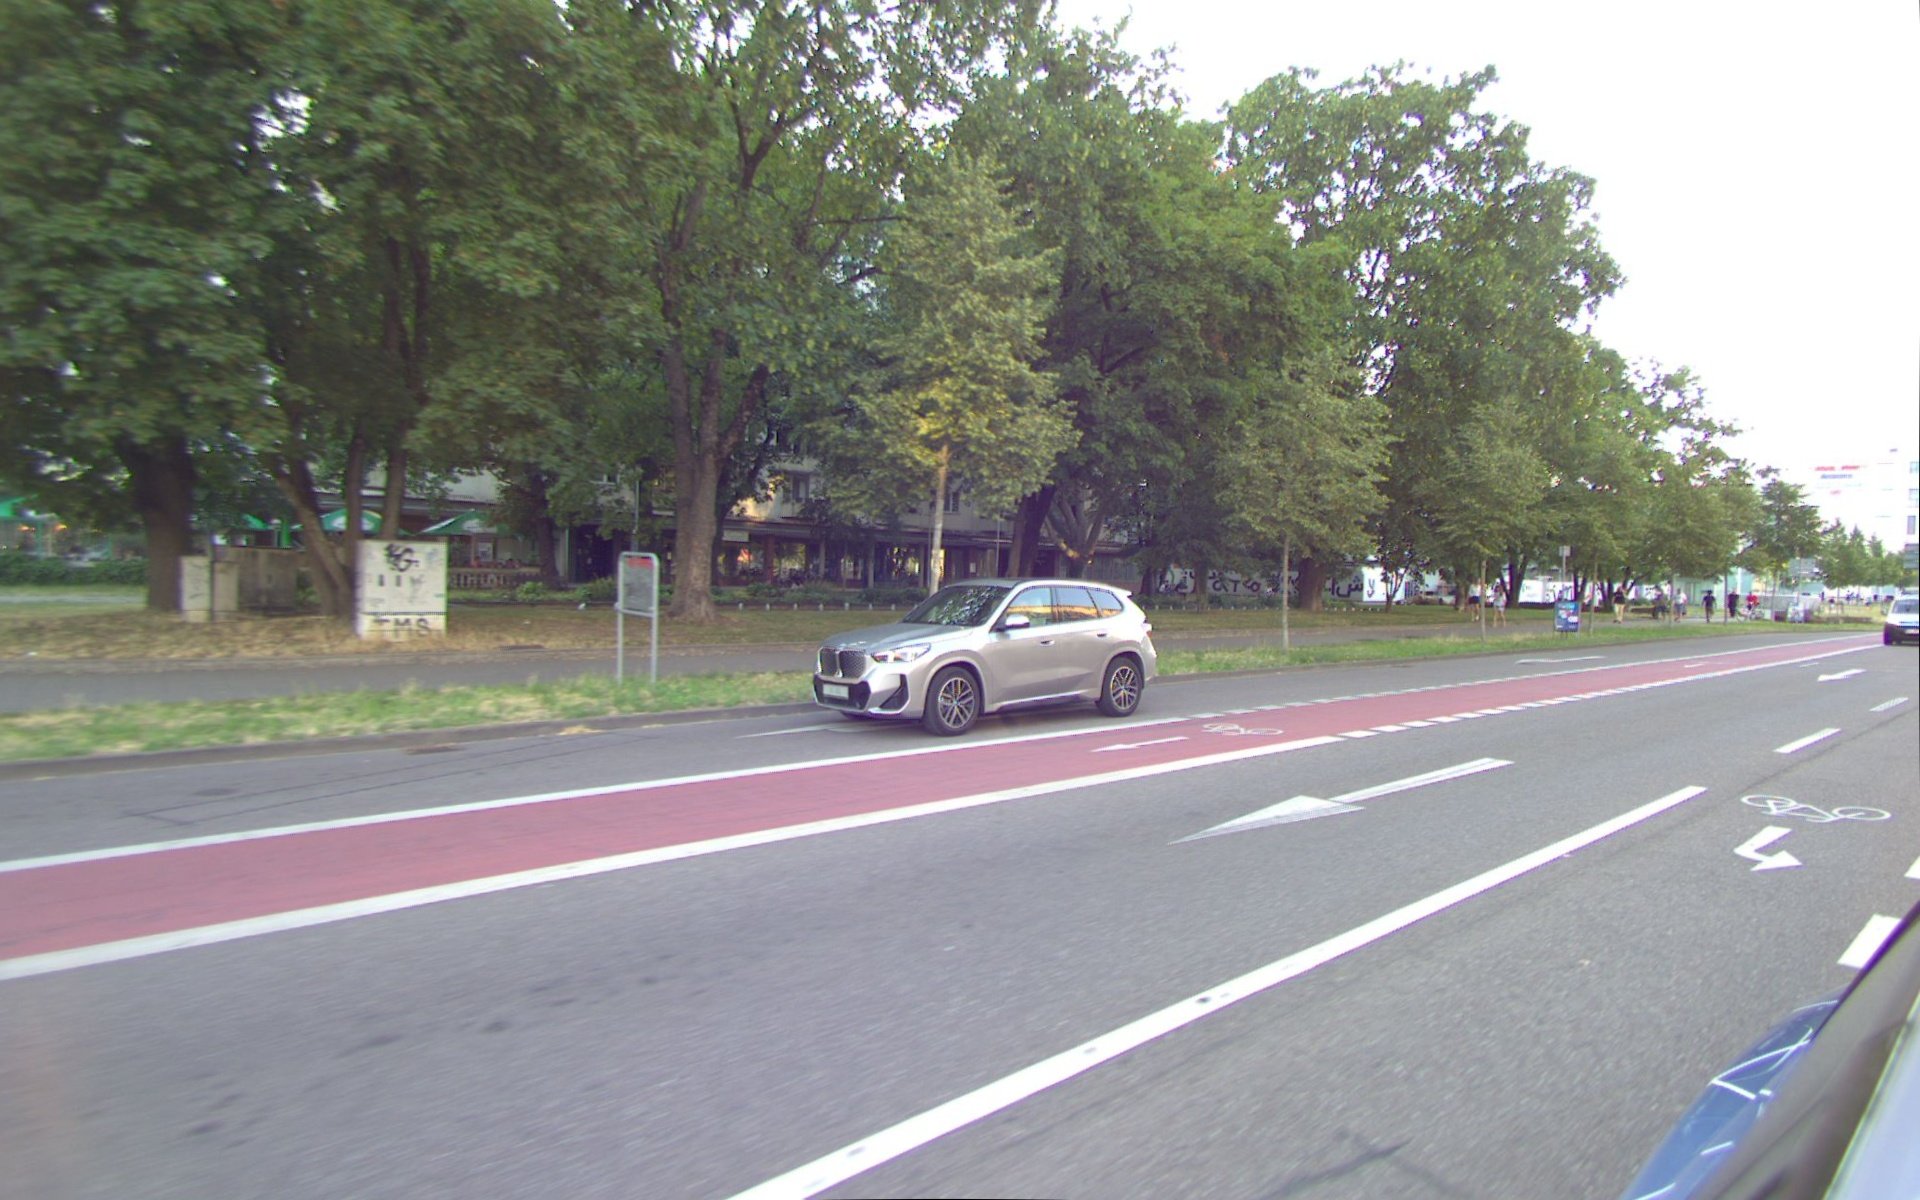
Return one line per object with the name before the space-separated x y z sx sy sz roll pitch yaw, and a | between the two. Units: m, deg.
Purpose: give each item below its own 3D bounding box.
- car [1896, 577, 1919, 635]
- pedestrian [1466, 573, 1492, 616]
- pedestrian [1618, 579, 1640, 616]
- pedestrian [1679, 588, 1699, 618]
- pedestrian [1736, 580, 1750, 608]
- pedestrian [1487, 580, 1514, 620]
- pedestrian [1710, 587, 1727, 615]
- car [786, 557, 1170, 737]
car | 33.910 0.212 34.996 4.388 1.935 1.803 0 2 -42
pedestrian | 20.174 -0.212 39.349 0.665 1.614 0.646 0 2 -38
pedestrian | 31.097 -0.105 47.062 0.634 1.683 0.632 0 2 -36
pedestrian | 37.433 0.145 51.960 0.634 1.481 0.632 0 2 -38
pedestrian | 47.161 -0.352 60.967 0.628 1.686 0.637 2 2 37
pedestrian | 20.714 -0.002 38.767 0.634 1.515 0.677 0 2 -39
pedestrian | 39.111 0.021 52.197 0.628 1.412 0.637 2 2 37
car | 0.340 0.412 11.687 4.270 1.684 1.884 0 2 -41
